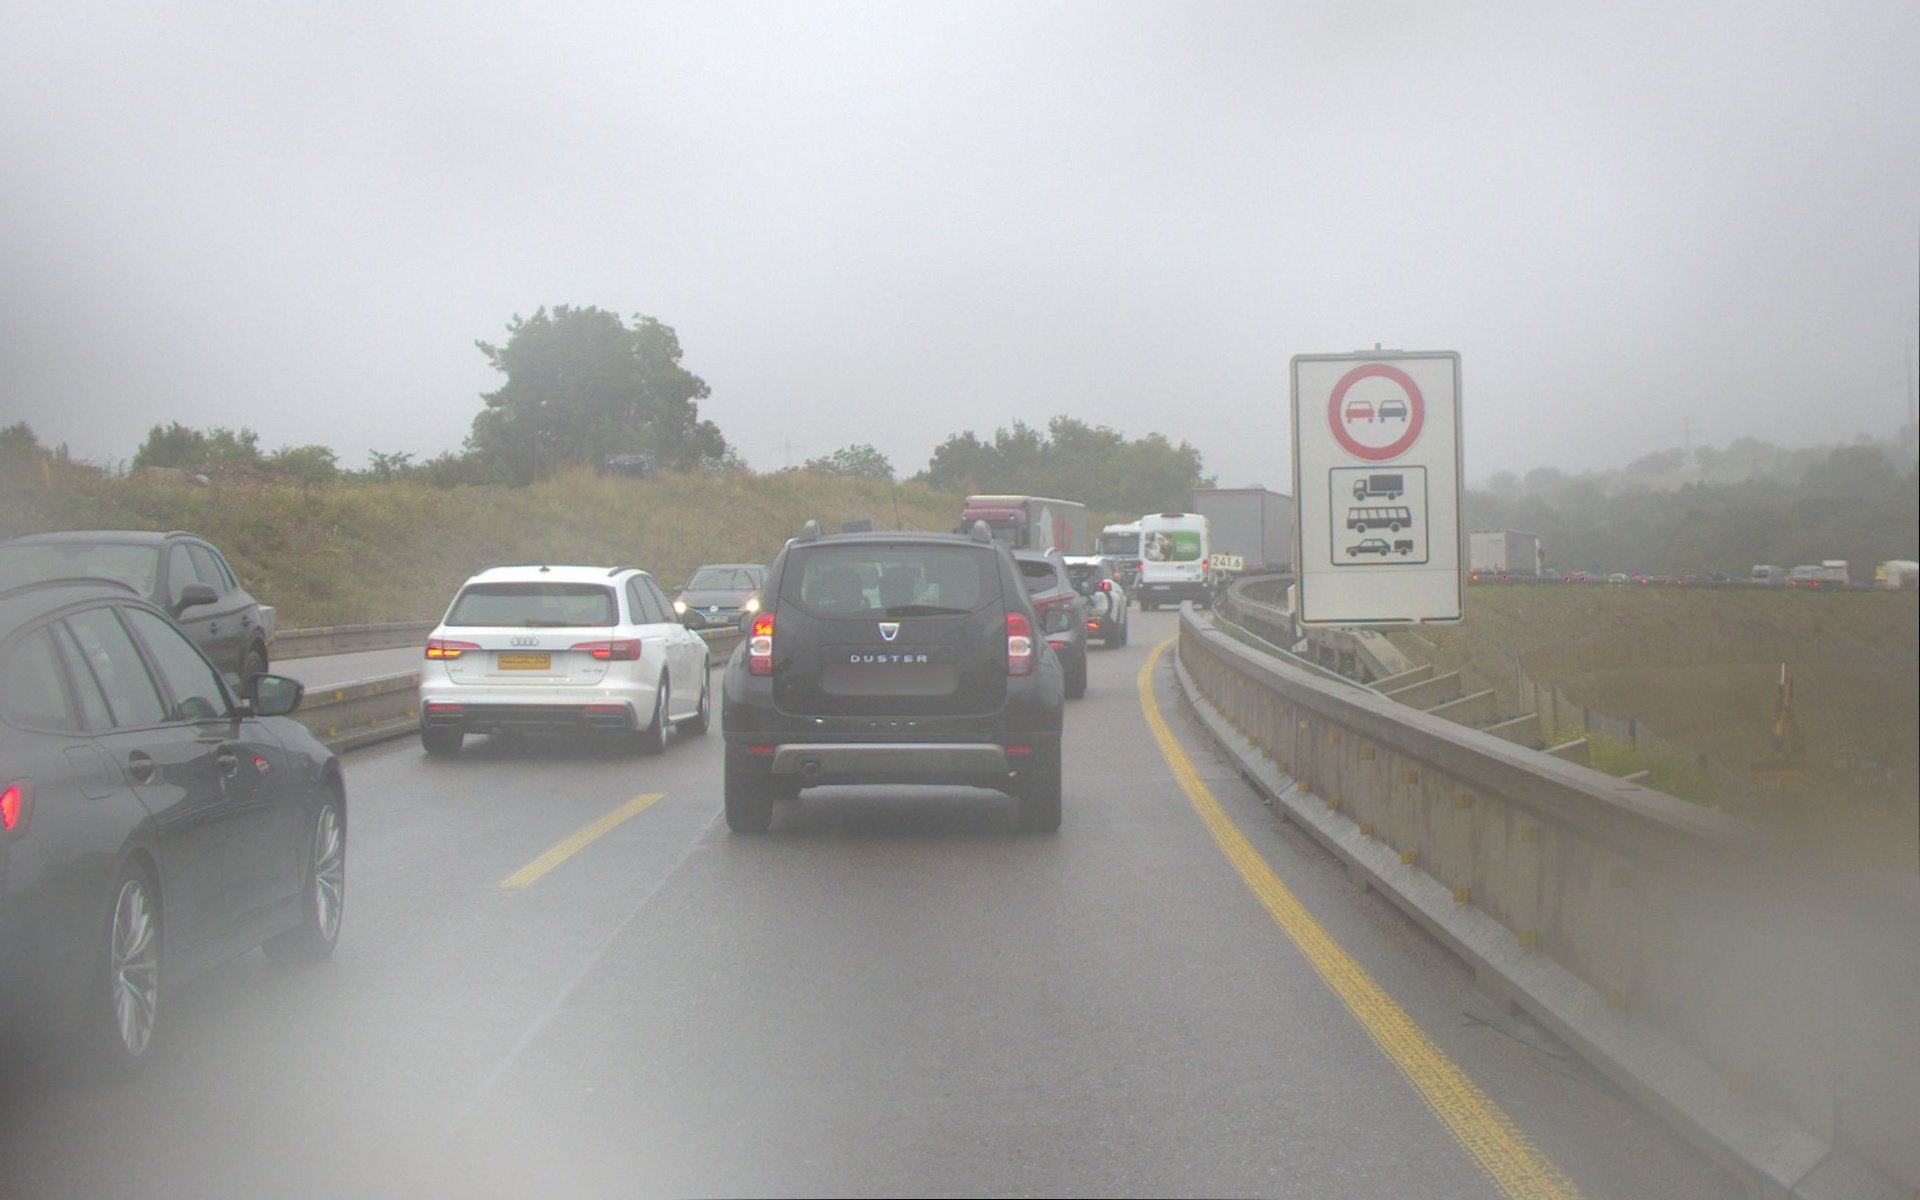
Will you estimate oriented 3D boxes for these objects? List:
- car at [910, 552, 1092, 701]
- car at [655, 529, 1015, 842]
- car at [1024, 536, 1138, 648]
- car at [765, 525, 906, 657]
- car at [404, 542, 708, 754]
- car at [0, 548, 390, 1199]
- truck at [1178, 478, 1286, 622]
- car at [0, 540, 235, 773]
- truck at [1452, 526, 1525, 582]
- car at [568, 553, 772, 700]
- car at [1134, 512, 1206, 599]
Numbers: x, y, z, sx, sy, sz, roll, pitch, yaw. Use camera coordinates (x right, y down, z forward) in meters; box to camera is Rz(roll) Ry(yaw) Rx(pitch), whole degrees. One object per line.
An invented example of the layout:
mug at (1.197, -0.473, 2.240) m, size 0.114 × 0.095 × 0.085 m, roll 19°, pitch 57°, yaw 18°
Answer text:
car at (0.428, 0.260, 36.659) m, size 1.826 × 1.494 × 4.000 m, roll 0°, pitch 0°, yaw 1°
car at (-0.615, 0.431, 19.544) m, size 1.826 × 1.585 × 4.000 m, roll 0°, pitch 0°, yaw 1°
car at (2.038, -0.133, 57.643) m, size 1.826 × 1.809 × 4.000 m, roll 0°, pitch 0°, yaw 2°
car at (-1.748, -0.132, 49.466) m, size 1.826 × 1.809 × 4.000 m, roll 0°, pitch 0°, yaw 1°
car at (-3.012, 0.335, 26.377) m, size 1.826 × 1.494 × 4.000 m, roll 0°, pitch 0°, yaw 1°
car at (-3.133, 0.639, 10.695) m, size 1.735 × 1.457 × 5.630 m, roll 0°, pitch 2°, yaw 1°
truck at (10.073, -1.768, 126.158) m, size 3.544 × 5.060 × 10.439 m, roll 0°, pitch 0°, yaw 7°
car at (-7.042, 0.367, 26.790) m, size 1.822 × 1.633 × 4.485 m, roll 0°, pitch 1°, yaw 0°
truck at (36.599, -3.223, 237.912) m, size 3.475 × 3.702 × 8.410 m, roll -1°, pitch 1°, yaw 19°
car at (-3.078, 0.268, 37.203) m, size 1.826 × 1.494 × 4.000 m, roll 0°, pitch 0°, yaw 1°
car at (6.049, -1.261, 98.718) m, size 1.827 × 2.429 × 4.157 m, roll 0°, pitch 0°, yaw 7°
